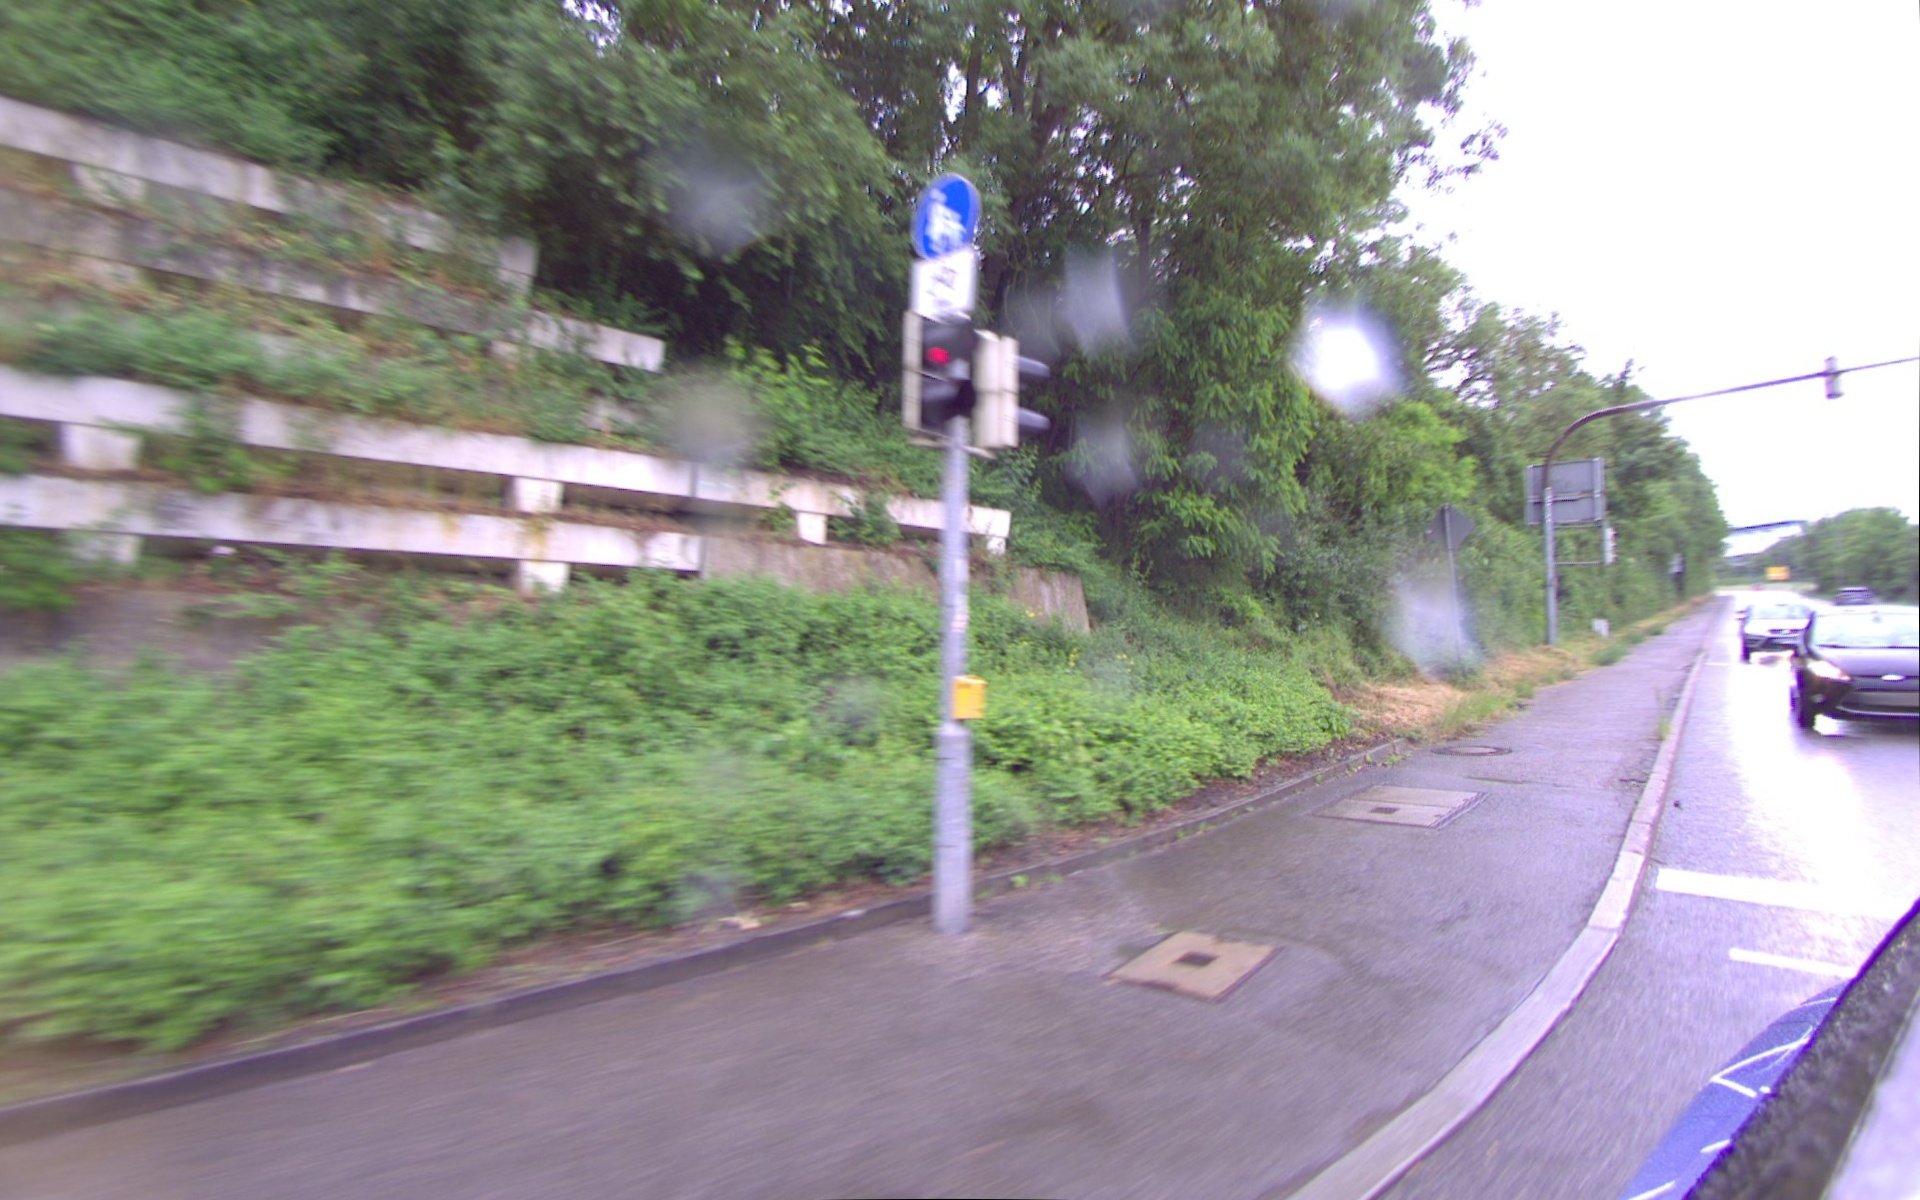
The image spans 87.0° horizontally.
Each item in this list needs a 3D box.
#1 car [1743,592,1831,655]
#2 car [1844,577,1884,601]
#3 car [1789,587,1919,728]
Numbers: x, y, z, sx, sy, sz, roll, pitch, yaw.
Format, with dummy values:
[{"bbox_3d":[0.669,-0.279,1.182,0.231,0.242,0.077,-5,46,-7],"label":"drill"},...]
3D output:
[{"bbox_3d":[21.848,0.570,26.757,1.675,1.526,4.094,0,0,40],"label":"car"},{"bbox_3d":[61.451,-0.728,68.812,1.729,1.594,3.816,-1,0,38],"label":"car"},{"bbox_3d":[11.915,0.647,13.050,1.673,1.590,3.837,-1,-1,37],"label":"car"}]
